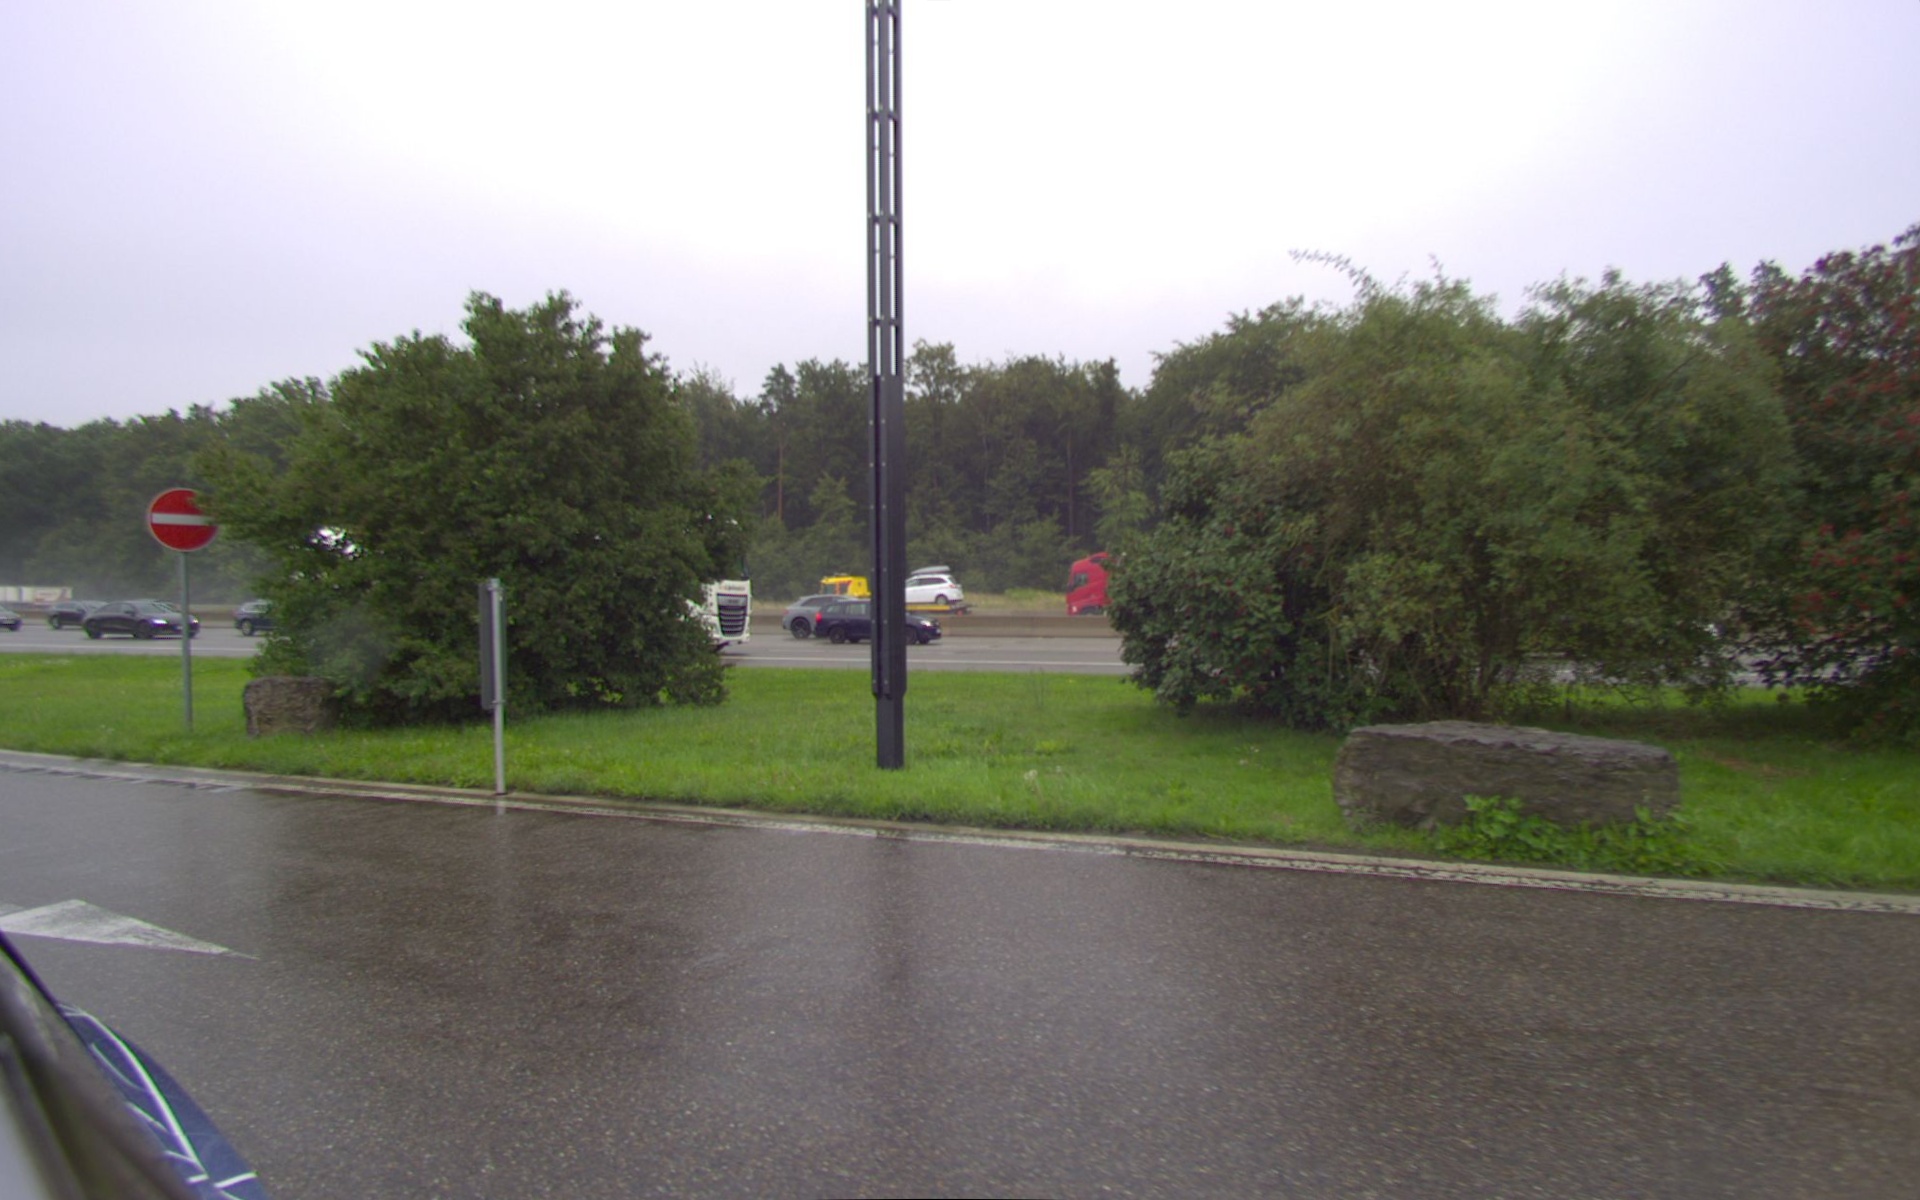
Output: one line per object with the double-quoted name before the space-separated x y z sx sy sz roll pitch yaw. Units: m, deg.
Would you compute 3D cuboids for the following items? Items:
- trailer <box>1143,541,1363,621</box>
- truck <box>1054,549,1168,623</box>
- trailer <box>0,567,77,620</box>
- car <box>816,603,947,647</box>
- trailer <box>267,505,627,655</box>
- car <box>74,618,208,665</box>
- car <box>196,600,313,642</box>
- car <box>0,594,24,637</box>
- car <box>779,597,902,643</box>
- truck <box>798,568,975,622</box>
"trailer" 15.062 -0.975 52.711 10.640 3.640 2.454 -2 3 15
"truck" 8.168 -0.761 54.573 5.747 3.645 2.438 -2 3 15
"trailer" -74.280 -0.363 77.508 14.547 3.707 2.610 -2 3 18
"car" -2.682 0.848 34.645 4.090 1.425 1.813 -1 0 19
"trailer" -15.445 -0.492 30.329 10.951 4.056 2.754 0 -1 18
"car" -32.732 1.651 40.467 4.465 1.589 1.989 -1 5 18
"car" -30.552 0.903 43.835 4.364 1.681 1.815 -1 -1 16
"car" -48.081 0.765 49.274 4.079 2.029 1.988 0 1 19
"car" -4.583 0.750 38.944 4.369 1.681 1.813 0 -1 18
"truck" -3.946 -0.207 53.664 9.234 2.479 2.096 -2 -3 17
